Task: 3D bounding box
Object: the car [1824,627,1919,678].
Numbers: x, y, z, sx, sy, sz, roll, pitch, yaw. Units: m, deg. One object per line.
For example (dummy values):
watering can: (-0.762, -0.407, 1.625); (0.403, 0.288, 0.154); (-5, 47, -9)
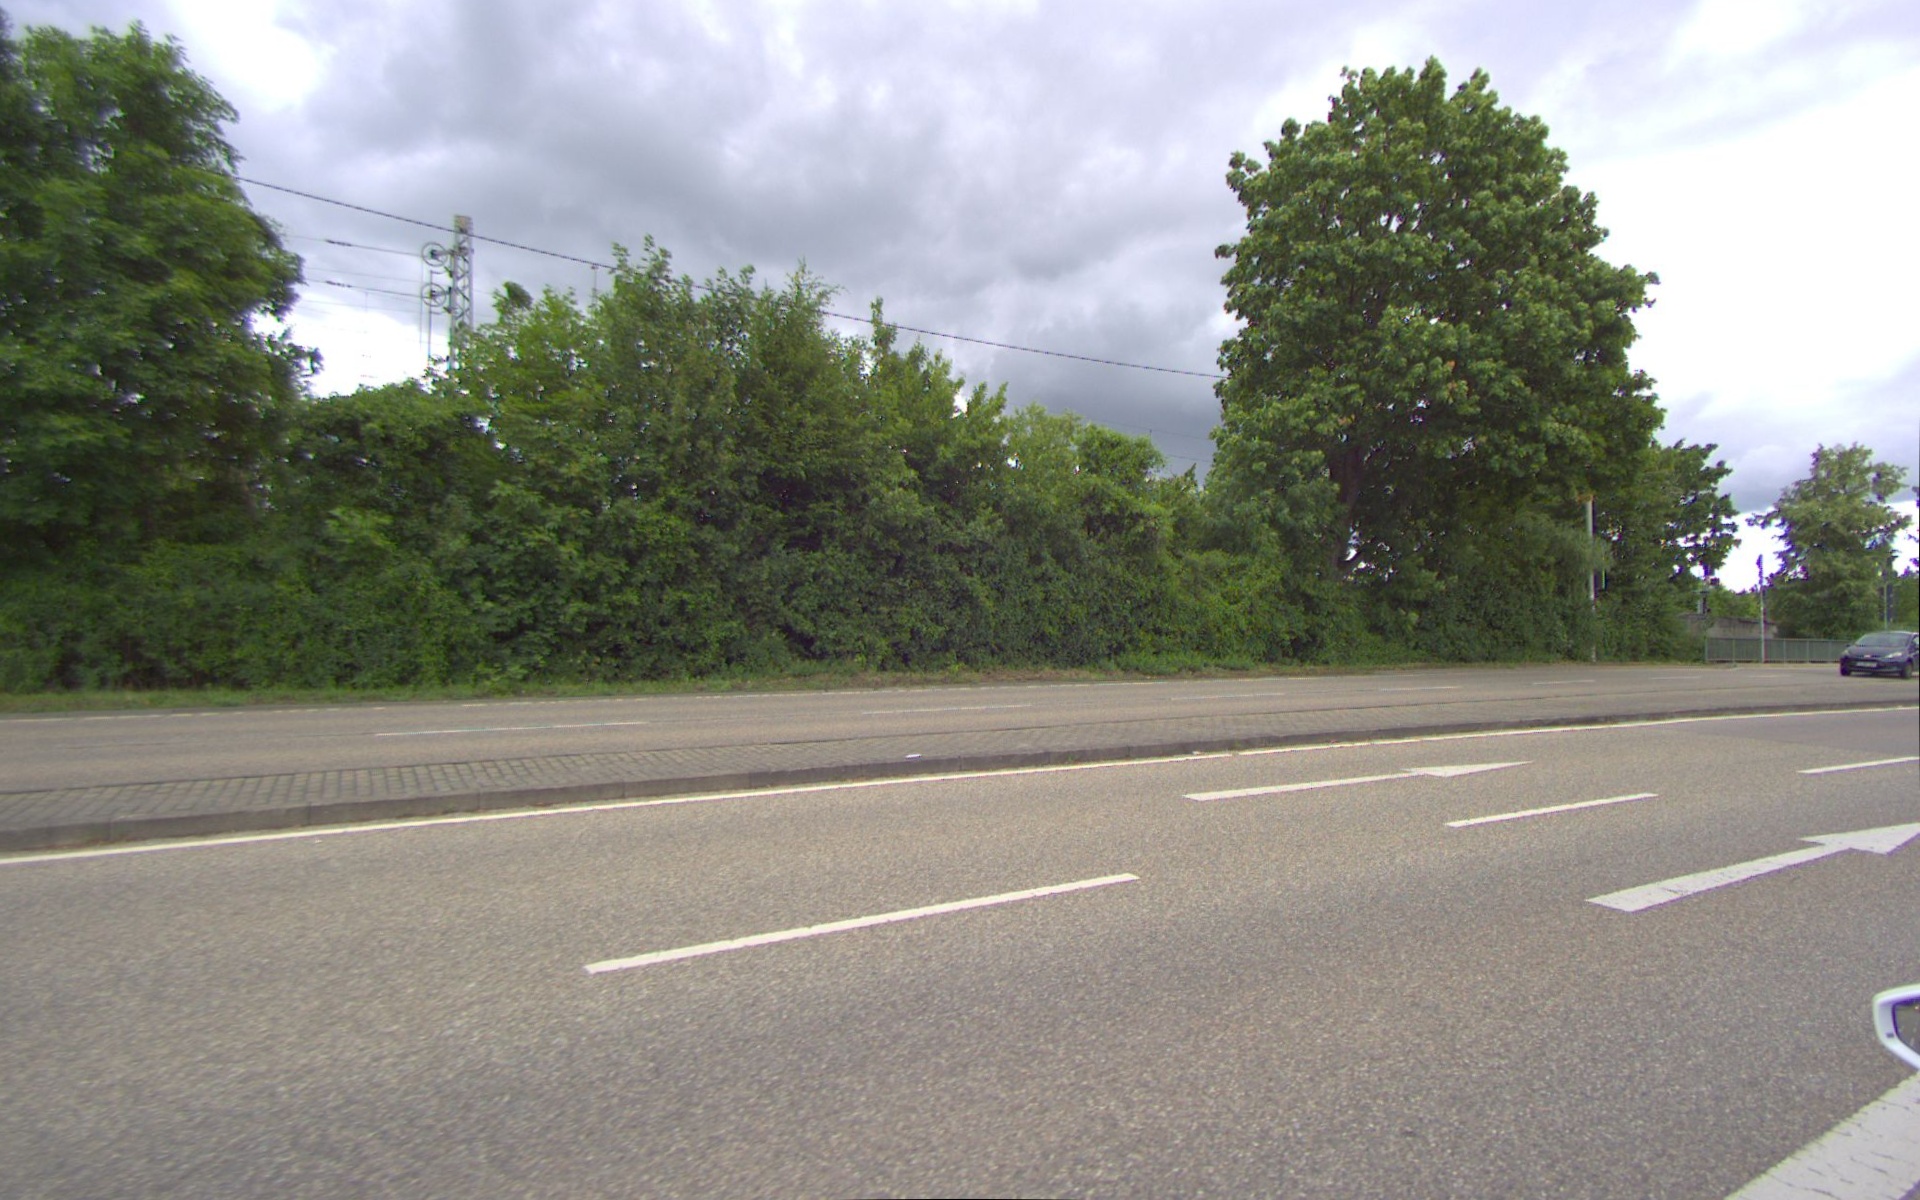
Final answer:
car: (29.880, 1.675, 32.549); (3.442, 1.504, 1.752); (2, 1, -29)
